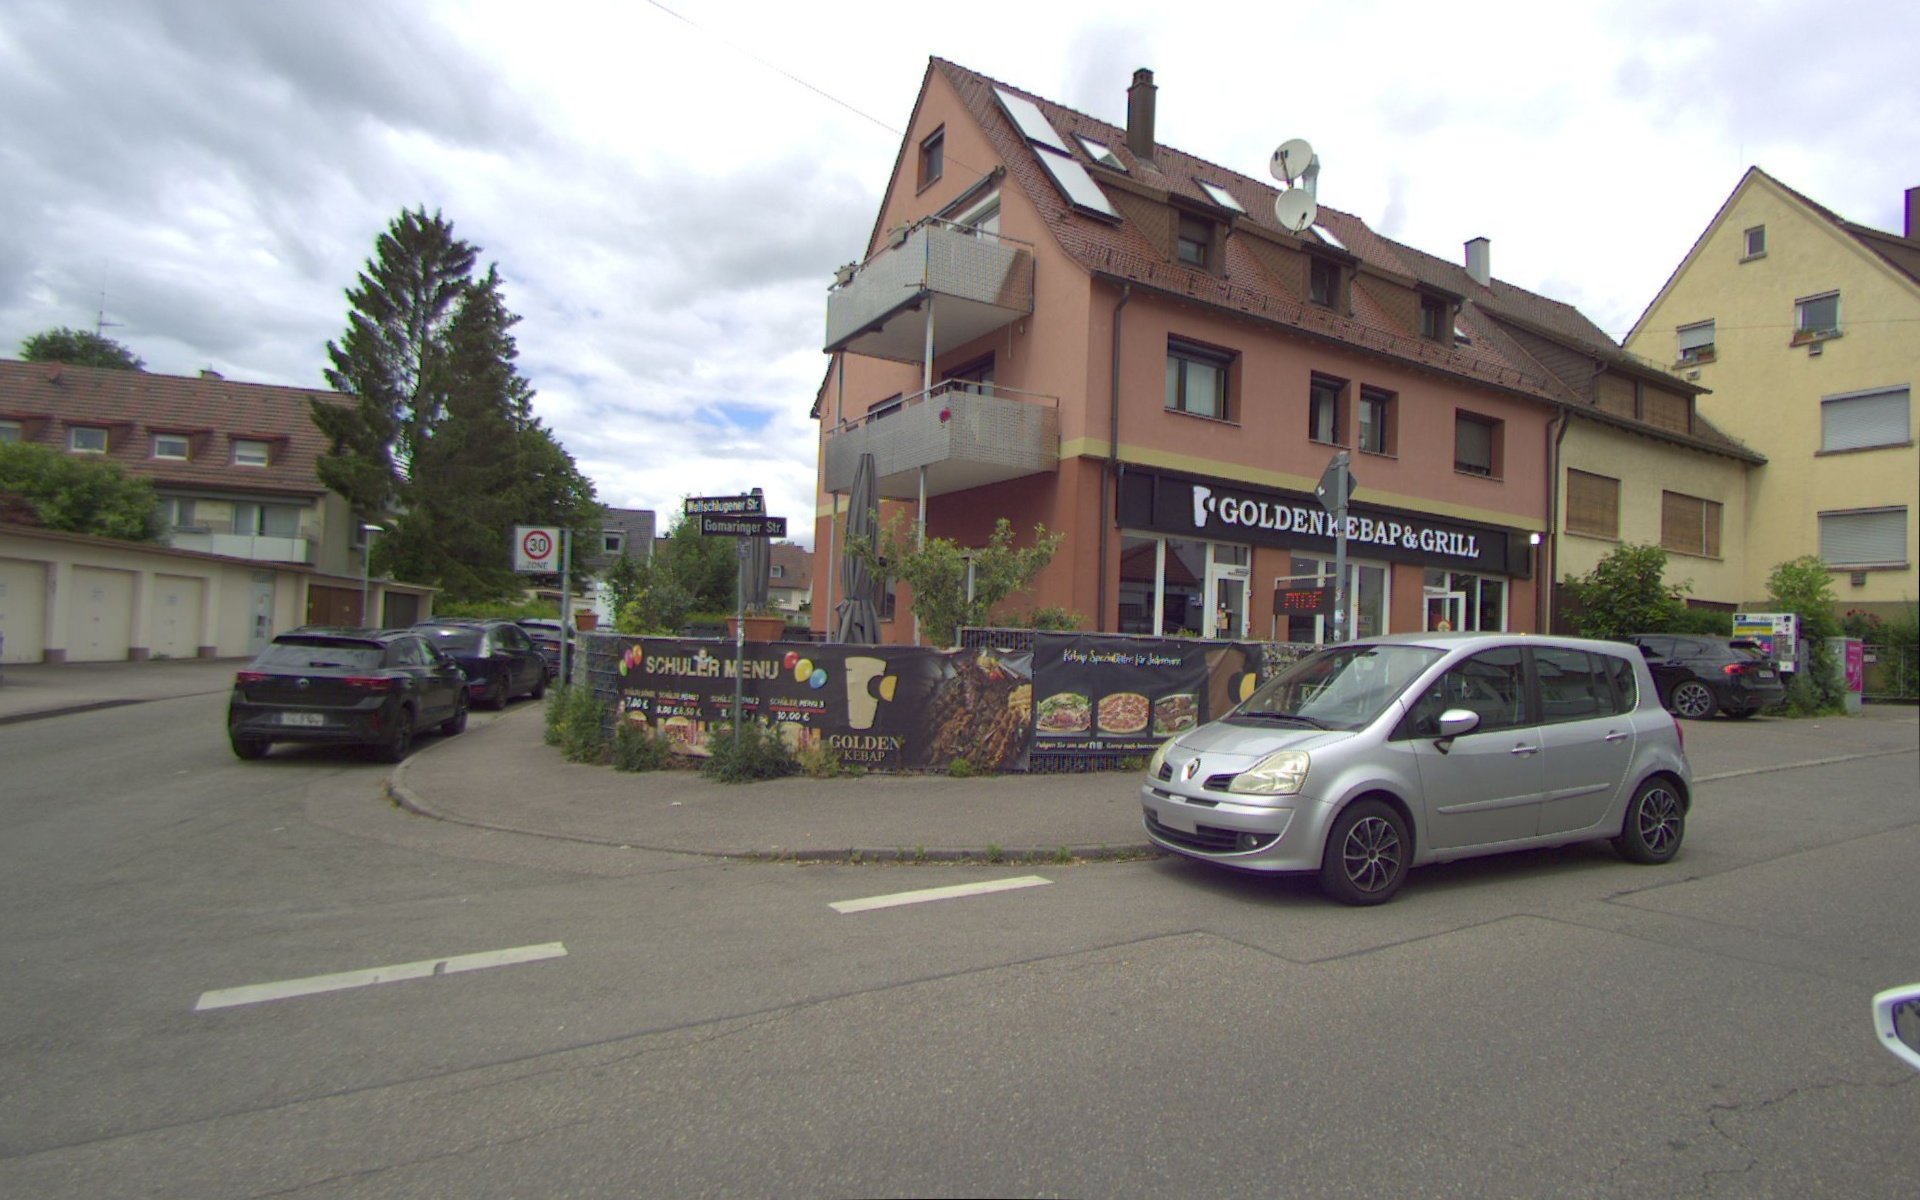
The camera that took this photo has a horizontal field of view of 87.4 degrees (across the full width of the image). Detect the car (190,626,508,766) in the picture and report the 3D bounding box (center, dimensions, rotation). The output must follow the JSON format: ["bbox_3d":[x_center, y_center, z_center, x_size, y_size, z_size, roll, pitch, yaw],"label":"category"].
[{"bbox_3d":[-7.774,1.161,13.397,1.964,1.491,4.413,3,-2,-8],"label":"car"}]

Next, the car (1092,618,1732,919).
[{"bbox_3d":[3.122,0.983,7.014,3.974,1.598,1.830,1,-4,-23],"label":"car"}]

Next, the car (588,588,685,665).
[{"bbox_3d":[-12.842,1.029,40.280,2.633,2.861,5.470,0,0,-6],"label":"car"}]

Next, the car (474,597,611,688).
[{"bbox_3d":[-10.390,1.057,25.327,1.962,2.040,3.998,3,-2,-5],"label":"car"}]

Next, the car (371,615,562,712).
[{"bbox_3d":[-9.331,1.176,19.442,1.964,1.583,4.413,3,-2,-8],"label":"car"}]

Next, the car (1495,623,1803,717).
[{"bbox_3d":[12.308,1.240,18.260,1.976,1.491,4.213,3,-4,-28],"label":"car"}]

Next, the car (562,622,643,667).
[{"bbox_3d":[-12.229,1.482,34.608,1.896,1.409,3.994,0,-1,-9],"label":"car"}]
